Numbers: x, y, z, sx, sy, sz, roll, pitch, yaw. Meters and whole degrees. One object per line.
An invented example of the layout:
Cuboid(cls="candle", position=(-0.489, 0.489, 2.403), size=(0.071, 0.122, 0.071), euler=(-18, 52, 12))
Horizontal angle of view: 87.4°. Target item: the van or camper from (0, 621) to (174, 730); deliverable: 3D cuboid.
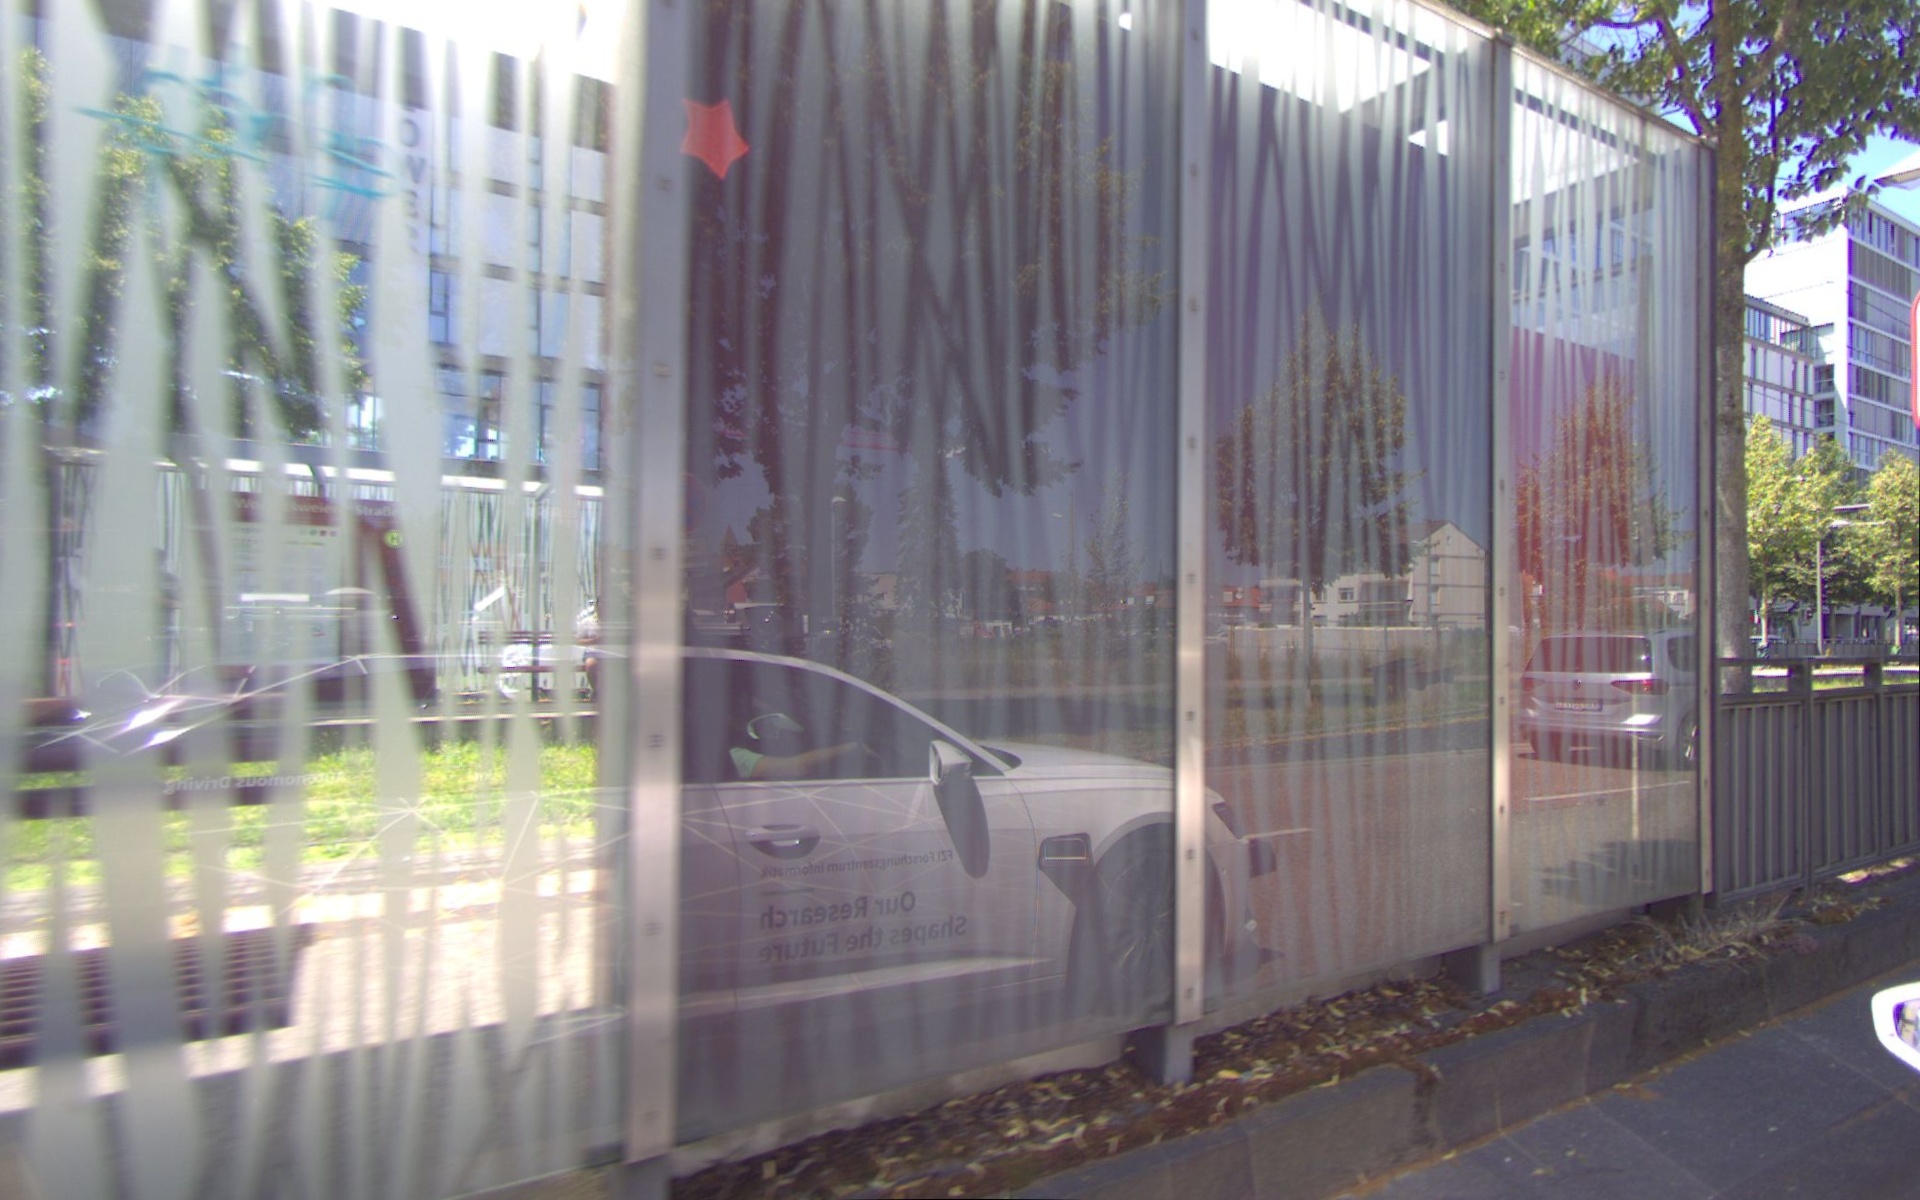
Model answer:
Cuboid(cls="van or camper", position=(-13.339, 1.030, 14.108), size=(3.388, 1.446, 1.469), euler=(2, -1, -30))

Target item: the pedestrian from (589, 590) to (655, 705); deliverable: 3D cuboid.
Cuboid(cls="pedestrian", position=(-4.394, 0.608, 13.057), size=(0.635, 1.432, 0.830), euler=(2, -1, -30))

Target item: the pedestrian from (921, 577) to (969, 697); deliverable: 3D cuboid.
Cuboid(cls="pedestrian", position=(-0.228, 0.557, 15.163), size=(0.580, 1.775, 0.407), euler=(2, -1, -33))

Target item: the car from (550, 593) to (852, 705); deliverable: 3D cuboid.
Cuboid(cls="car", position=(-4.819, 0.885, 18.837), size=(5.011, 1.830, 2.450), euler=(2, -2, -31))

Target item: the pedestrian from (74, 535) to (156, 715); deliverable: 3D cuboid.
Cuboid(cls="pedestrian", position=(-8.542, 0.252, 10.163), size=(0.458, 1.762, 0.477), euler=(0, -1, 31))
